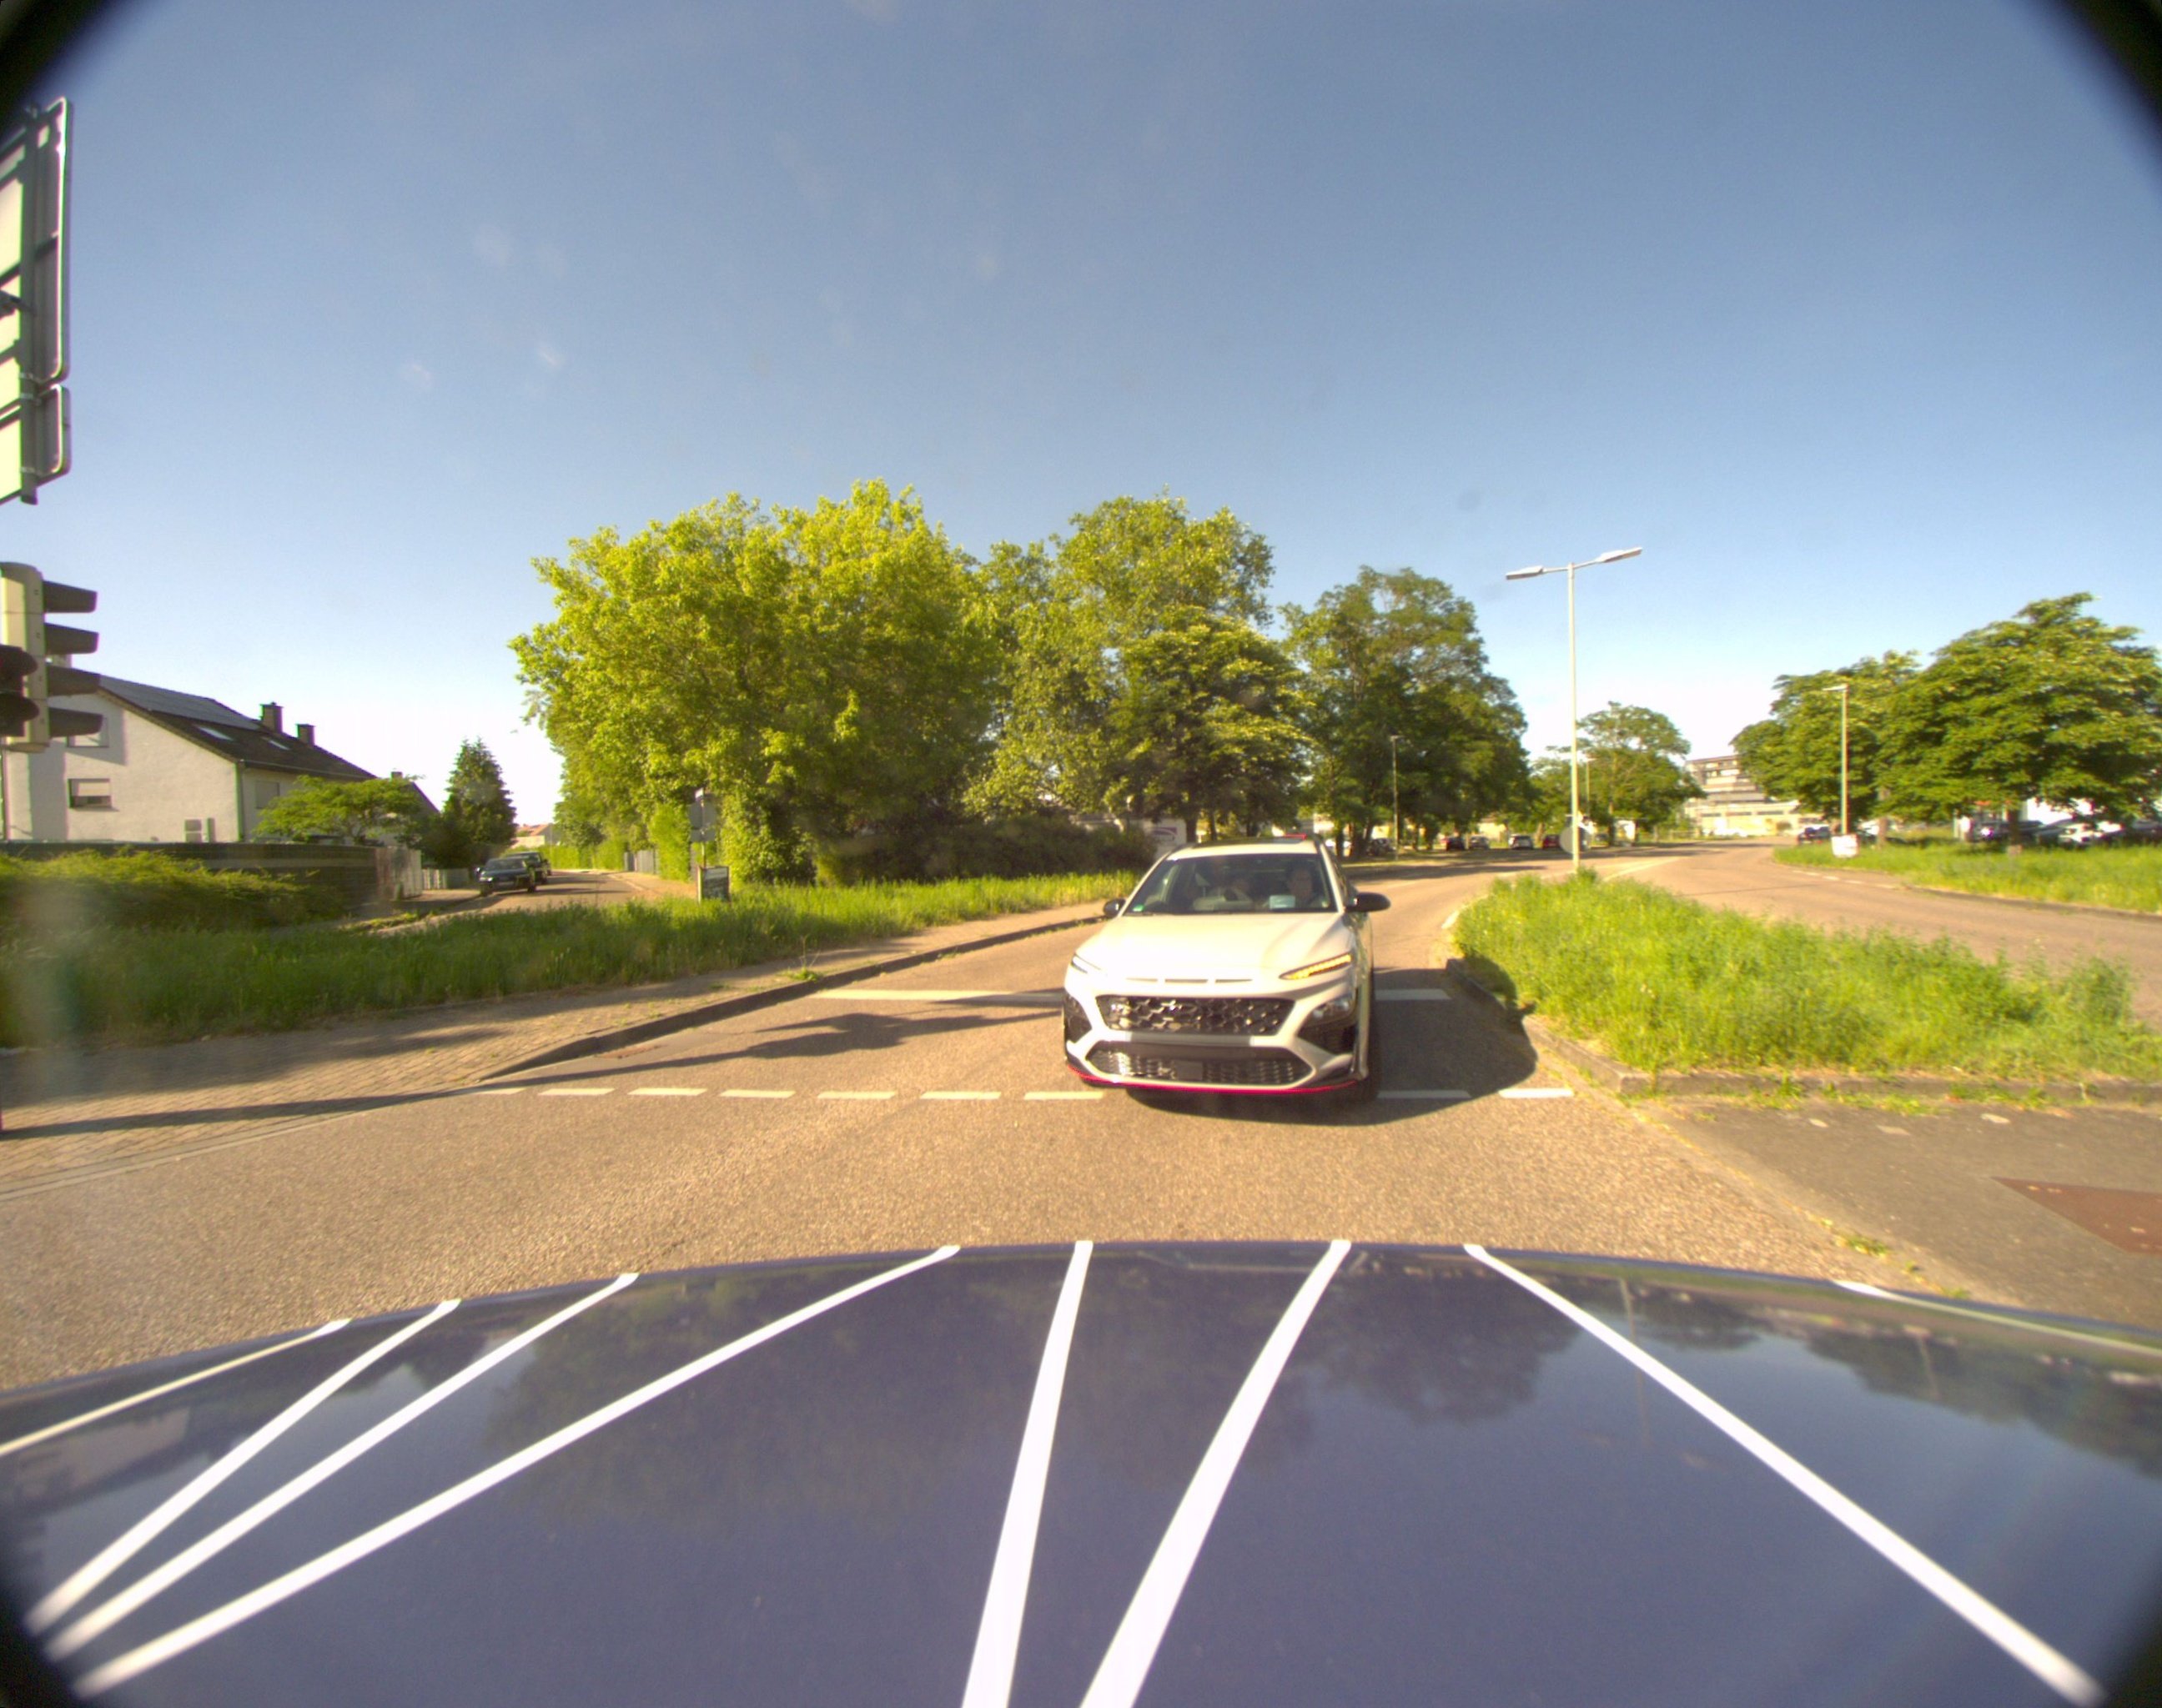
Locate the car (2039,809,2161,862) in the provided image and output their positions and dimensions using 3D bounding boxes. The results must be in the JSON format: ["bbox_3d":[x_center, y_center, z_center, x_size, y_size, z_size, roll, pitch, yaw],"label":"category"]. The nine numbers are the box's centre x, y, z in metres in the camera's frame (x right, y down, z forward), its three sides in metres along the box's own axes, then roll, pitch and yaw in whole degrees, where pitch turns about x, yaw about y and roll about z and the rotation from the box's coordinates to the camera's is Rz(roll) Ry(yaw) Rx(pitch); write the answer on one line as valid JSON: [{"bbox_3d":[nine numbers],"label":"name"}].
[{"bbox_3d":[42.743,-0.758,31.063,3.991,2.002,2.002,-2,1,20],"label":"car"}]

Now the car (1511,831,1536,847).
[{"bbox_3d":[42.159,-1.422,72.420,1.994,1.442,4.006,1,3,30],"label":"car"}]

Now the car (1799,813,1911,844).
[{"bbox_3d":[42.328,-1.393,41.671,3.989,1.521,1.932,-1,1,33],"label":"car"}]

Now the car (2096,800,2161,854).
[{"bbox_3d":[41.778,-1.047,28.506,3.991,2.002,2.003,-1,1,20],"label":"car"}]

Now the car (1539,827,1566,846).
[{"bbox_3d":[44.146,-1.679,71.189,1.994,1.657,4.006,1,3,30],"label":"car"}]

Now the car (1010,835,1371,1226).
[{"bbox_3d":[1.185,0.752,5.537,1.712,1.636,4.059,-1,3,21],"label":"car"}]

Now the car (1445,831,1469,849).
[{"bbox_3d":[36.949,-1.407,74.615,1.733,1.610,4.006,1,3,30],"label":"car"}]

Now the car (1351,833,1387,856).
[{"bbox_3d":[25.107,-0.853,66.100,2.004,1.786,4.007,-2,1,34],"label":"car"}]

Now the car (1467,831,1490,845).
[{"bbox_3d":[41.406,-1.688,79.085,1.867,1.432,3.489,1,3,30],"label":"car"}]

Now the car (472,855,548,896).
[{"bbox_3d":[-24.610,0.878,32.903,2.003,1.547,3.991,-3,2,-29],"label":"car"}]

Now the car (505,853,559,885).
[{"bbox_3d":[-31.320,0.820,43.436,1.966,1.657,3.990,-3,1,-29],"label":"car"}]
